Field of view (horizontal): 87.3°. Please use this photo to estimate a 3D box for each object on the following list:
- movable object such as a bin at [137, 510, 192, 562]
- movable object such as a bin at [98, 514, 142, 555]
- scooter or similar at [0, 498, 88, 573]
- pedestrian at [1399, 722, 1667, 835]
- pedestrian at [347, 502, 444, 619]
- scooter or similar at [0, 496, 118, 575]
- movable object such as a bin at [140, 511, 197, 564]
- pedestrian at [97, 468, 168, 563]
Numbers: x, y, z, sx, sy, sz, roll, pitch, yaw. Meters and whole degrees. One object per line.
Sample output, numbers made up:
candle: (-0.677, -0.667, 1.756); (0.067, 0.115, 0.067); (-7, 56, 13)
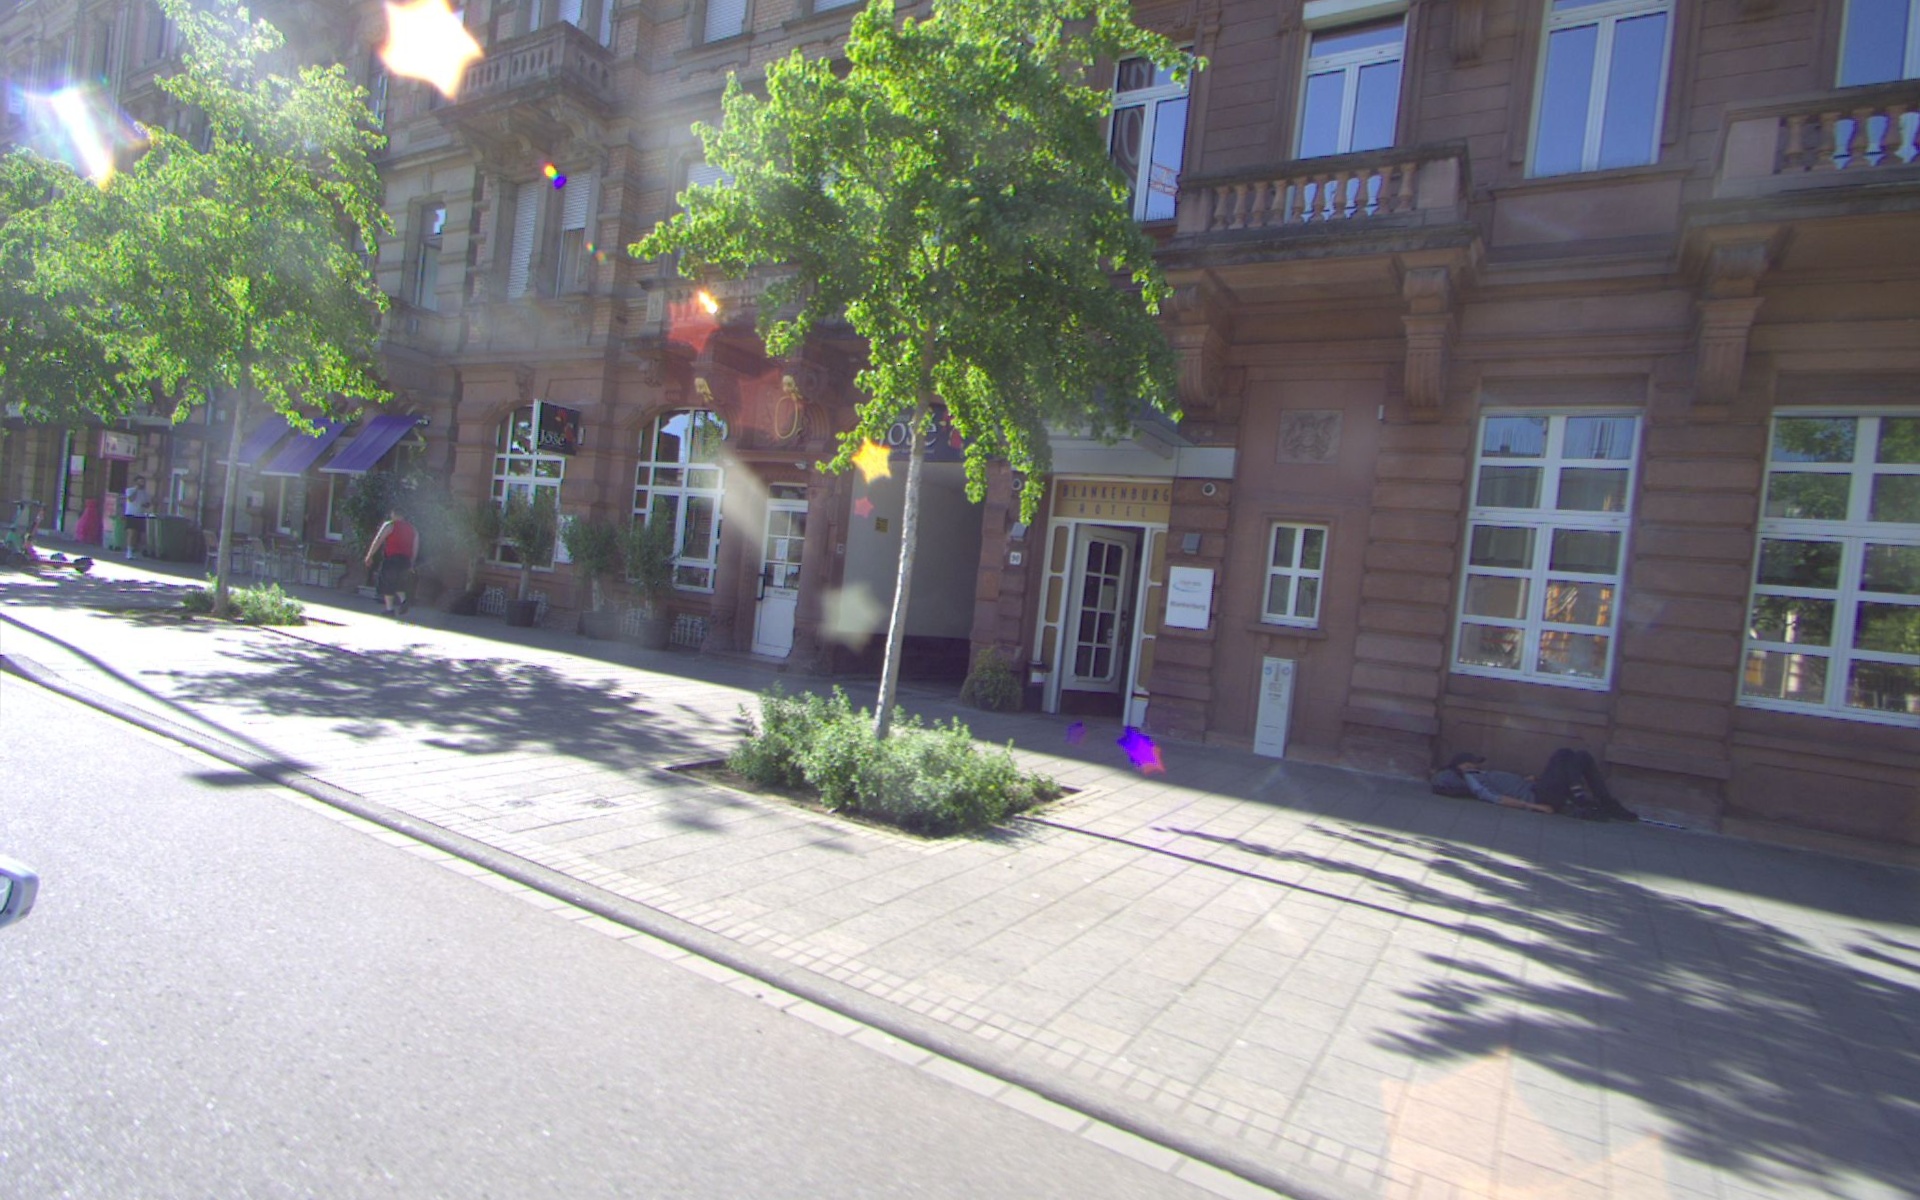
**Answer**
movable object such as a bin: (-19.182, -1.530, 24.254); (0.734, 1.111, 0.726); (7, 1, 27)
movable object such as a bin: (-21.315, -1.657, 25.535); (0.639, 0.928, 0.605); (7, 1, 27)
scooter or similar: (-16.776, -1.160, 18.102); (0.591, 1.233, 1.476); (8, 3, 21)
pedestrian: (5.106, 1.563, 9.070); (1.974, 0.560, 0.774); (7, 1, 31)
pedestrian: (-8.995, -0.618, 16.032); (0.851, 1.755, 0.996); (6, 3, 31)
scooter or similar: (-16.028, -1.126, 17.887); (0.591, 1.233, 1.475); (8, 3, 28)
movable object such as a bin: (-18.642, -1.462, 23.696); (0.734, 1.111, 0.726); (7, 1, 27)
pedestrian: (-18.926, -1.915, 23.004); (1.029, 2.037, 0.818); (4, -1, 32)
